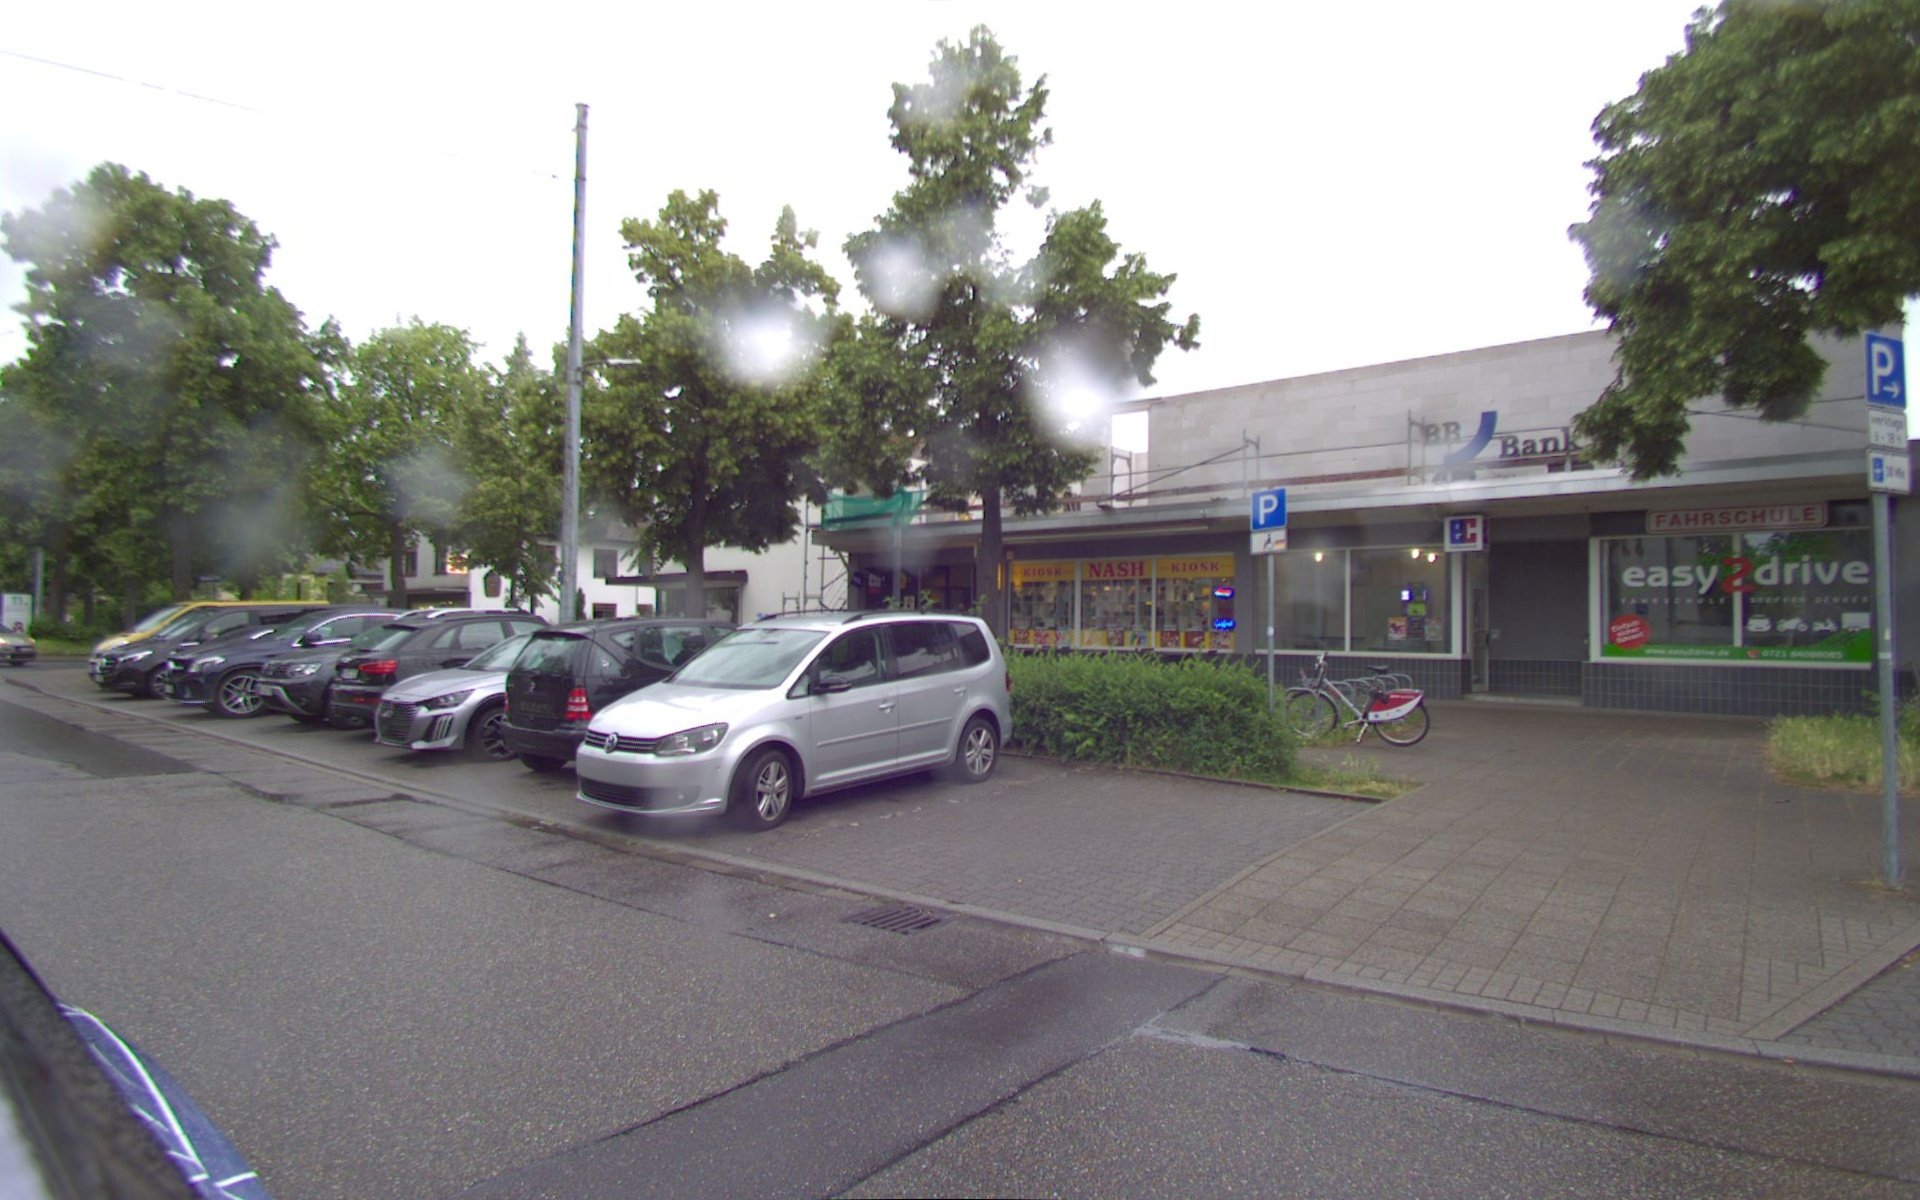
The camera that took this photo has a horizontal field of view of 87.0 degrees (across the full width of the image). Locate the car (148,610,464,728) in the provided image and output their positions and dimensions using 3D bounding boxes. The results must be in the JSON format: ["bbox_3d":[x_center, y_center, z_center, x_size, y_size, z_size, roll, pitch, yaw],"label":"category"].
[{"bbox_3d":[-10.991,1.048,17.281,1.713,1.740,4.231,-1,-1,38],"label":"car"}]

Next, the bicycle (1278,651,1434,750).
[{"bbox_3d":[4.810,1.203,12.346,1.739,1.115,0.316,-1,0,25],"label":"bicycle"}]

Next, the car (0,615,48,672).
[{"bbox_3d":[-31.342,1.342,31.610,3.939,1.700,1.843,0,0,-5],"label":"car"}]

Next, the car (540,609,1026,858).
[{"bbox_3d":[-1.305,0.918,9.012,1.713,1.647,4.231,-1,-1,38],"label":"car"}]

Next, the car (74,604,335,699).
[{"bbox_3d":[-17.429,1.098,23.572,1.713,1.973,4.600,-1,-1,38],"label":"car"}]

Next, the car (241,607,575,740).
[{"bbox_3d":[-8.340,0.994,15.645,1.713,1.740,4.231,-1,-1,38],"label":"car"}]

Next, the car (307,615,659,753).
[{"bbox_3d":[-6.569,1.039,14.358,1.713,1.607,4.231,-1,-1,38],"label":"car"}]

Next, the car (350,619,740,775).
[{"bbox_3d":[-4.954,1.035,12.609,1.713,1.544,4.231,-1,-1,38],"label":"car"}]

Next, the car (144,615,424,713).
[{"bbox_3d":[-13.023,1.140,19.738,1.713,1.639,4.231,-1,-1,38],"label":"car"}]

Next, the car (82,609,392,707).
[{"bbox_3d":[-15.149,1.114,21.523,1.713,1.813,5.114,-1,-1,38],"label":"car"}]

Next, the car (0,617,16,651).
[{"bbox_3d":[-49.687,1.711,50.171,1.997,1.698,3.950,-1,0,37],"label":"car"}]

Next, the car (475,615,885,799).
[{"bbox_3d":[-2.851,0.981,11.155,1.633,1.577,4.231,-1,0,38],"label":"car"}]
